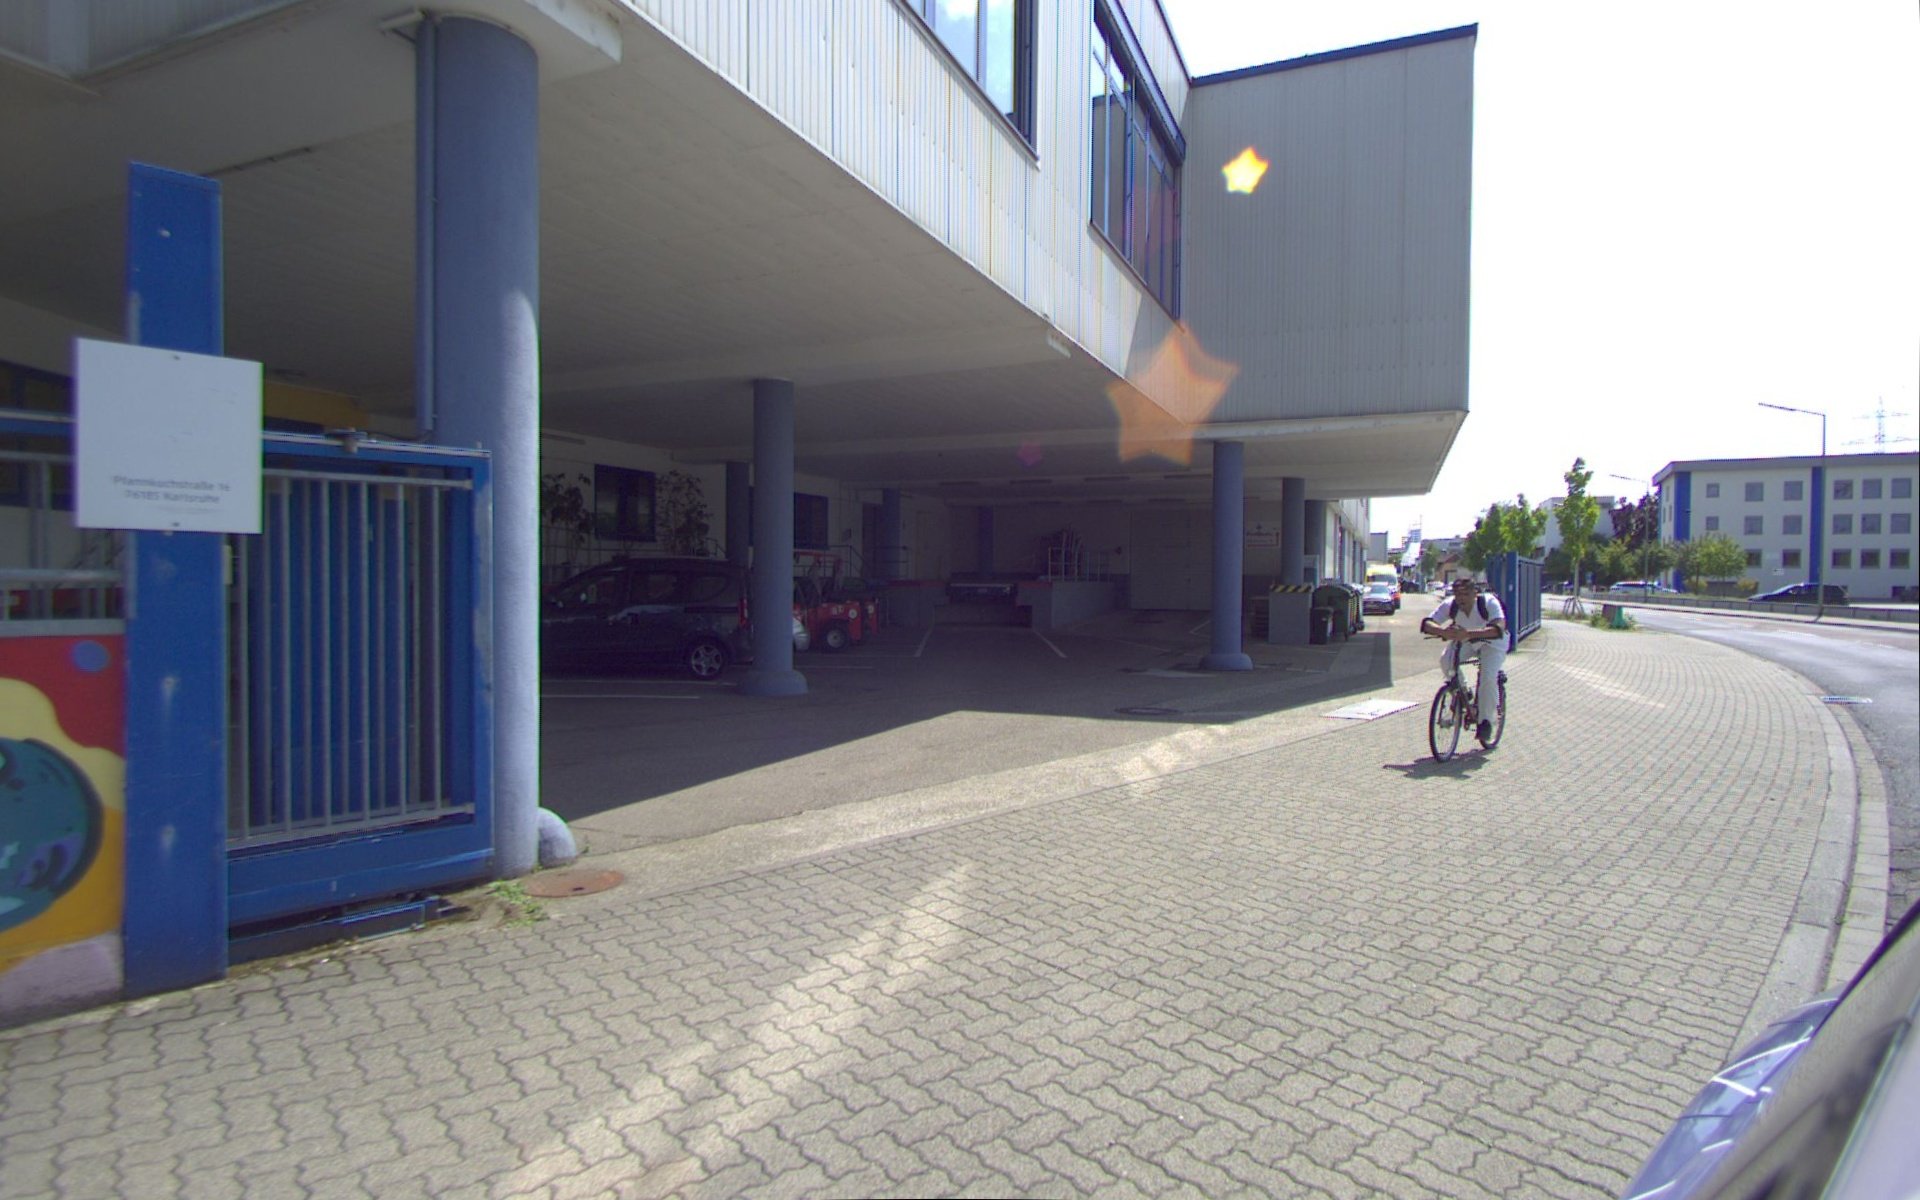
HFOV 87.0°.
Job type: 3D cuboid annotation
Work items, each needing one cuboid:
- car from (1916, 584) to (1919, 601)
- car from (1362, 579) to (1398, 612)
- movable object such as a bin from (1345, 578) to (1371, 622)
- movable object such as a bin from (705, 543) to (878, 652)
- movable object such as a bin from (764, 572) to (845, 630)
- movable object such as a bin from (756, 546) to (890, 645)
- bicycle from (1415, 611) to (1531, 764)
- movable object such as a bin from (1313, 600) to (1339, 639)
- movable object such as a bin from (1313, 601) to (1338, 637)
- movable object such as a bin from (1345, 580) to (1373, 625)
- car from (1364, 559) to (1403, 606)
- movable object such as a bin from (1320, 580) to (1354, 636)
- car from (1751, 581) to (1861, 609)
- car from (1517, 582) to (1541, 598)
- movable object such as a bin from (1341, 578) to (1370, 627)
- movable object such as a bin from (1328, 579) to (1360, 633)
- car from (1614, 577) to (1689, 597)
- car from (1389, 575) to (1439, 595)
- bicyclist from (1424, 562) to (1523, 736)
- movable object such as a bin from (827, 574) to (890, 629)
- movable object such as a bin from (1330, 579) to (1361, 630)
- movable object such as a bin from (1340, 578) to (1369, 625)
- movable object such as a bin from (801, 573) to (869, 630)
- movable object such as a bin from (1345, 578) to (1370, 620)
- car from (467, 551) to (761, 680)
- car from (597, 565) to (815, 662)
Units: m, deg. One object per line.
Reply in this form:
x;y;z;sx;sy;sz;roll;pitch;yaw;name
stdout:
80.657;-0.571;83.555;1.552;1.393;3.647;0;1;27;car
19.515;-0.254;47.064;1.484;1.421;3.826;-1;1;23;car
13.621;-0.012;34.659;0.797;1.431;1.348;-1;1;22;movable object such as a bin
-3.445;-0.063;20.808;3.365;2.111;1.436;-1;0;-9;movable object such as a bin
-3.918;0.012;25.619;1.451;1.422;1.563;0;1;21;movable object such as a bin
-3.052;-0.105;22.551;2.856;2.111;1.320;-1;0;-9;movable object such as a bin
4.590;0.695;8.975;0.664;1.122;2.141;0;1;34;bicycle
9.257;0.481;25.603;0.583;0.955;0.541;-1;1;21;movable object such as a bin
9.420;0.492;26.082;0.593;0.921;0.415;-1;1;21;movable object such as a bin
13.108;0.079;33.234;0.797;1.431;1.348;-1;1;22;movable object such as a bin
23.767;-1.031;56.857;1.908;2.494;5.220;-1;1;23;car
9.988;0.192;26.839;0.797;1.431;1.349;-1;1;21;movable object such as a bin
43.352;-0.280;51.971;3.955;1.393;1.790;0;1;24;car
67.327;-1.204;119.801;1.852;1.729;4.719;-1;1;22;car
11.972;0.074;30.668;0.797;1.431;1.418;-1;1;21;movable object such as a bin
10.656;0.149;28.102;0.797;1.431;1.349;-1;1;21;movable object such as a bin
56.633;-1.057;83.004;4.718;1.622;1.984;0;1;24;car
40.795;-1.344;91.046;4.049;1.707;1.986;0;1;22;car
4.452;0.382;8.762;0.661;1.415;0.848;0;1;35;bicyclist
-2.833;0.021;28.392;1.322;1.487;1.284;0;1;21;movable object such as a bin
11.183;0.109;29.393;0.797;1.431;1.396;-1;1;21;movable object such as a bin
12.467;0.044;31.988;0.797;1.431;1.167;-1;1;21;movable object such as a bin
-3.326;0.021;27.067;1.322;1.487;1.429;0;1;21;movable object such as a bin
14.192;-0.051;36.163;0.797;1.431;1.348;-1;1;22;movable object such as a bin
-5.137;0.202;15.520;4.021;1.803;1.762;-1;0;-9;car
-4.439;0.239;18.129;3.587;1.565;1.845;1;0;-9;car
